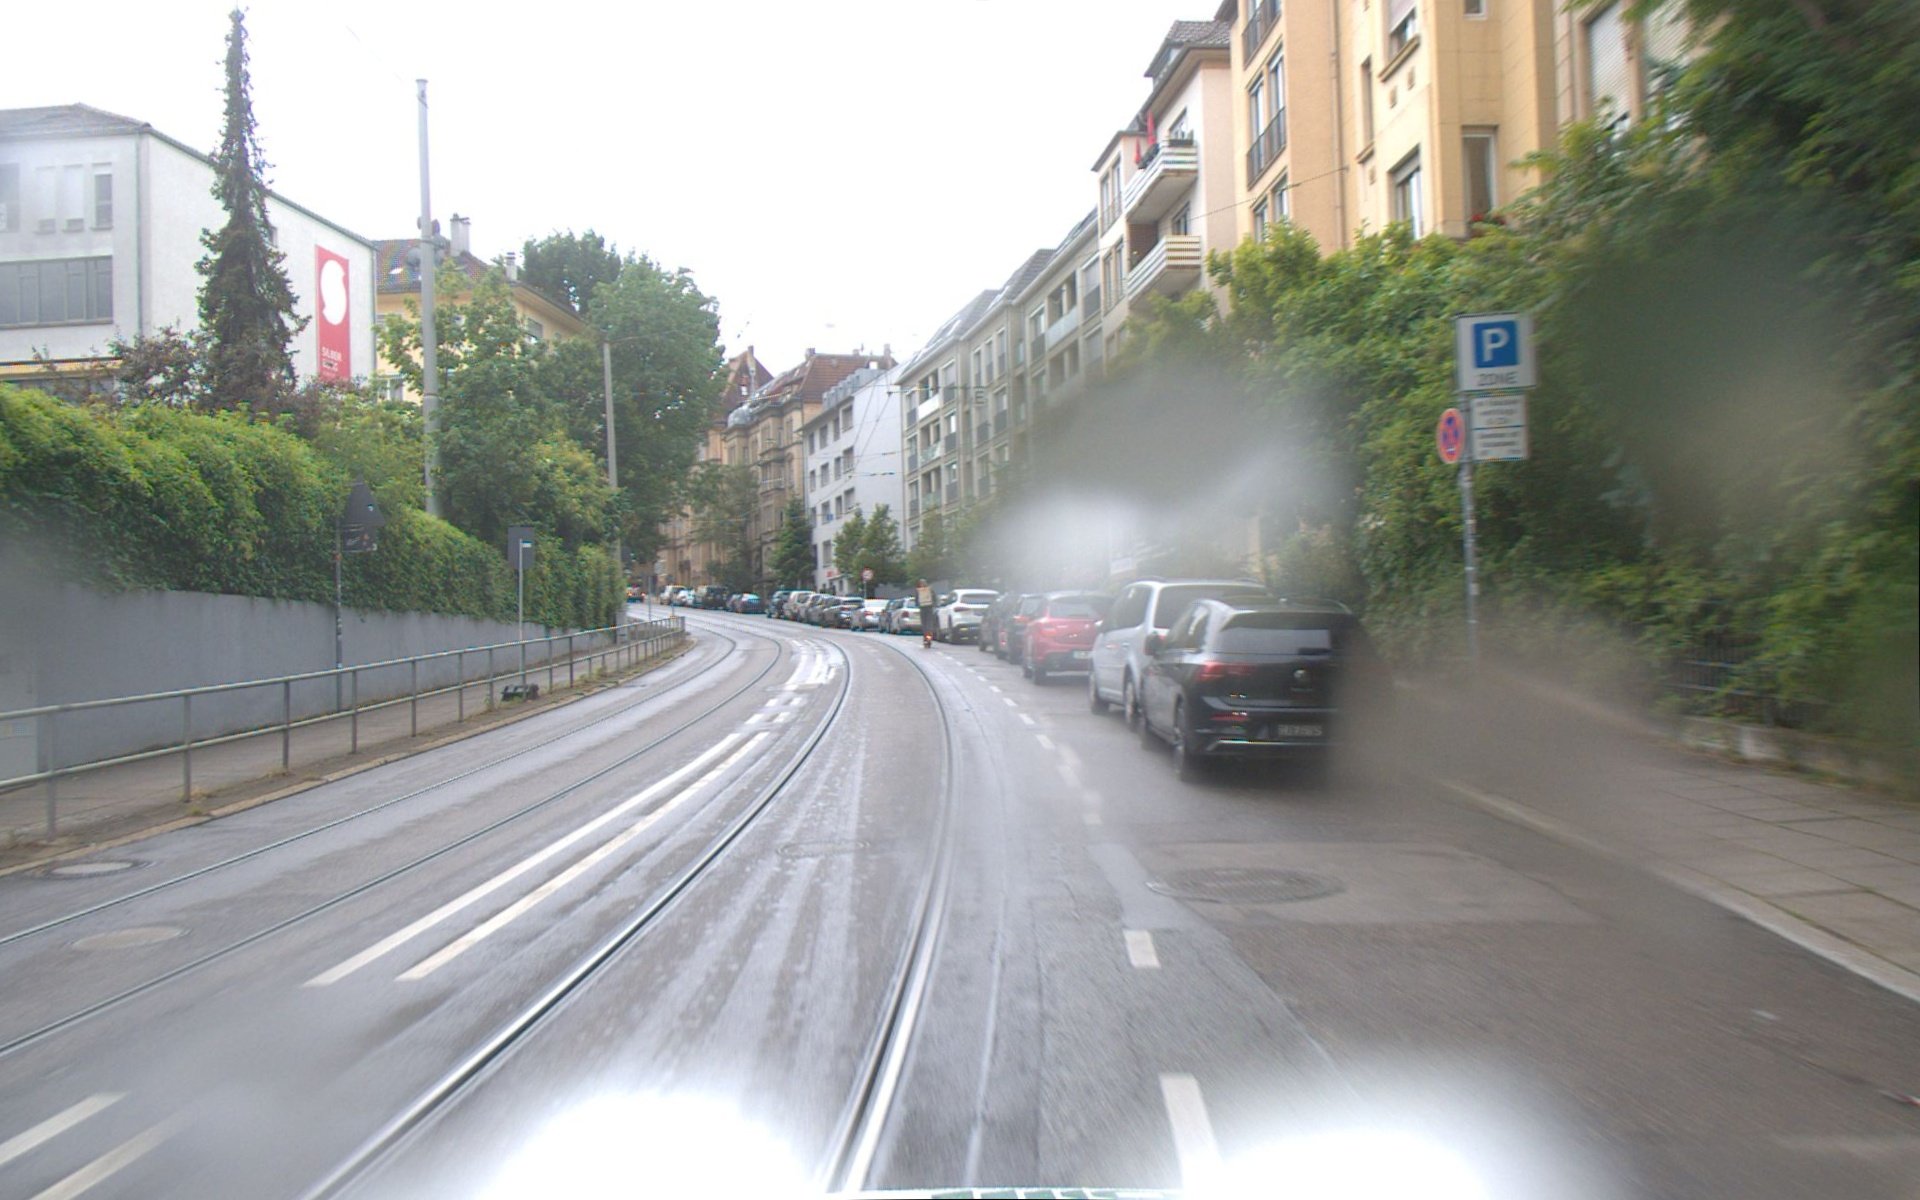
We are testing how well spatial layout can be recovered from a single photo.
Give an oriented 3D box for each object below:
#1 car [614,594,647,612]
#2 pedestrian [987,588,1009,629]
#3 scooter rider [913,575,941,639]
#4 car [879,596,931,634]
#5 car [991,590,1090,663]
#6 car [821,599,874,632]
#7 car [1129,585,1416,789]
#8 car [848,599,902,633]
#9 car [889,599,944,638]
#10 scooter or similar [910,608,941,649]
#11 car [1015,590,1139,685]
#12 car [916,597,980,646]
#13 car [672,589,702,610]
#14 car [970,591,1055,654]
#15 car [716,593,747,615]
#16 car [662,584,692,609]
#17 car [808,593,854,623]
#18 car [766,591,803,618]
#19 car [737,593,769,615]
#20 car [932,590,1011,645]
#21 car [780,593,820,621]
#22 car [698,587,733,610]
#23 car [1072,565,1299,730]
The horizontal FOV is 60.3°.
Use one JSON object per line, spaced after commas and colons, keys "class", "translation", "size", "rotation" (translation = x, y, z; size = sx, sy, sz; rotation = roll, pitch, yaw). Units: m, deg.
{"class": "car", "translation": [-32.771, 0.246, 164.420], "size": [2.007, 1.765, 4.096], "rotation": [0, 0, -31]}
{"class": "pedestrian", "translation": [1.484, 0.339, 64.841], "size": [0.560, 1.569, 0.926], "rotation": [-4, 1, -15]}
{"class": "scooter rider", "translation": [-0.917, 0.184, 45.516], "size": [0.612, 1.735, 0.841], "rotation": [1, 0, -12]}
{"class": "car", "translation": [-2.376, 0.631, 70.829], "size": [1.671, 1.538, 3.704], "rotation": [0, 0, -11]}
{"class": "car", "translation": [1.692, 0.535, 36.019], "size": [1.650, 1.462, 4.060], "rotation": [-1, 0, -4]}
{"class": "car", "translation": [-6.007, 0.802, 87.659], "size": [1.740, 1.643, 4.224], "rotation": [-2, 0, -19]}
{"class": "car", "translation": [2.550, 0.633, 14.393], "size": [1.729, 1.415, 4.001], "rotation": [-1, 2, 0]}
{"class": "car", "translation": [-4.059, 0.742, 77.941], "size": [1.732, 1.460, 4.623], "rotation": [-2, 0, -13]}
{"class": "car", "translation": [-1.780, 0.743, 66.227], "size": [1.631, 1.497, 4.498], "rotation": [0, -1, -9]}
{"class": "scooter or similar", "translation": [-0.945, 0.781, 45.484], "size": [0.504, 1.068, 2.003], "rotation": [1, 0, -11]}
{"class": "car", "translation": [1.912, 0.581, 27.967], "size": [1.687, 1.462, 3.840], "rotation": [-1, 0, -2]}
{"class": "car", "translation": [-0.441, 0.685, 56.074], "size": [1.669, 1.538, 4.564], "rotation": [1, 0, -7]}
{"class": "car", "translation": [-24.246, -0.074, 146.759], "size": [1.996, 1.856, 4.119], "rotation": [0, 0, -18]}
{"class": "car", "translation": [1.274, 0.533, 41.626], "size": [1.526, 1.462, 4.297], "rotation": [-1, 0, -6]}
{"class": "car", "translation": [-17.666, 0.275, 127.574], "size": [1.625, 1.562, 3.869], "rotation": [-4, 2, -18]}
{"class": "car", "translation": [-25.954, -0.293, 151.613], "size": [1.998, 2.257, 4.115], "rotation": [0, 0, -20]}
{"class": "car", "translation": [-7.366, 0.419, 93.856], "size": [1.738, 1.643, 4.228], "rotation": [0, 0, -17]}
{"class": "car", "translation": [-11.640, 0.262, 109.268], "size": [1.738, 1.713, 4.229], "rotation": [0, 0, -16]}
{"class": "car", "translation": [-15.359, 0.284, 122.804], "size": [1.738, 1.544, 4.121], "rotation": [0, 0, -16]}
{"class": "car", "translation": [0.300, 0.510, 50.263], "size": [1.803, 1.600, 4.240], "rotation": [0, 0, -8]}
{"class": "car", "translation": [-10.161, 0.400, 104.707], "size": [1.739, 1.713, 4.227], "rotation": [0, 0, -17]}
{"class": "car", "translation": [-20.158, -0.155, 136.278], "size": [1.998, 1.856, 4.341], "rotation": [0, 0, -20]}
{"class": "car", "translation": [2.509, 0.494, 19.412], "size": [1.731, 1.631, 4.285], "rotation": [-3, 0, -4]}
